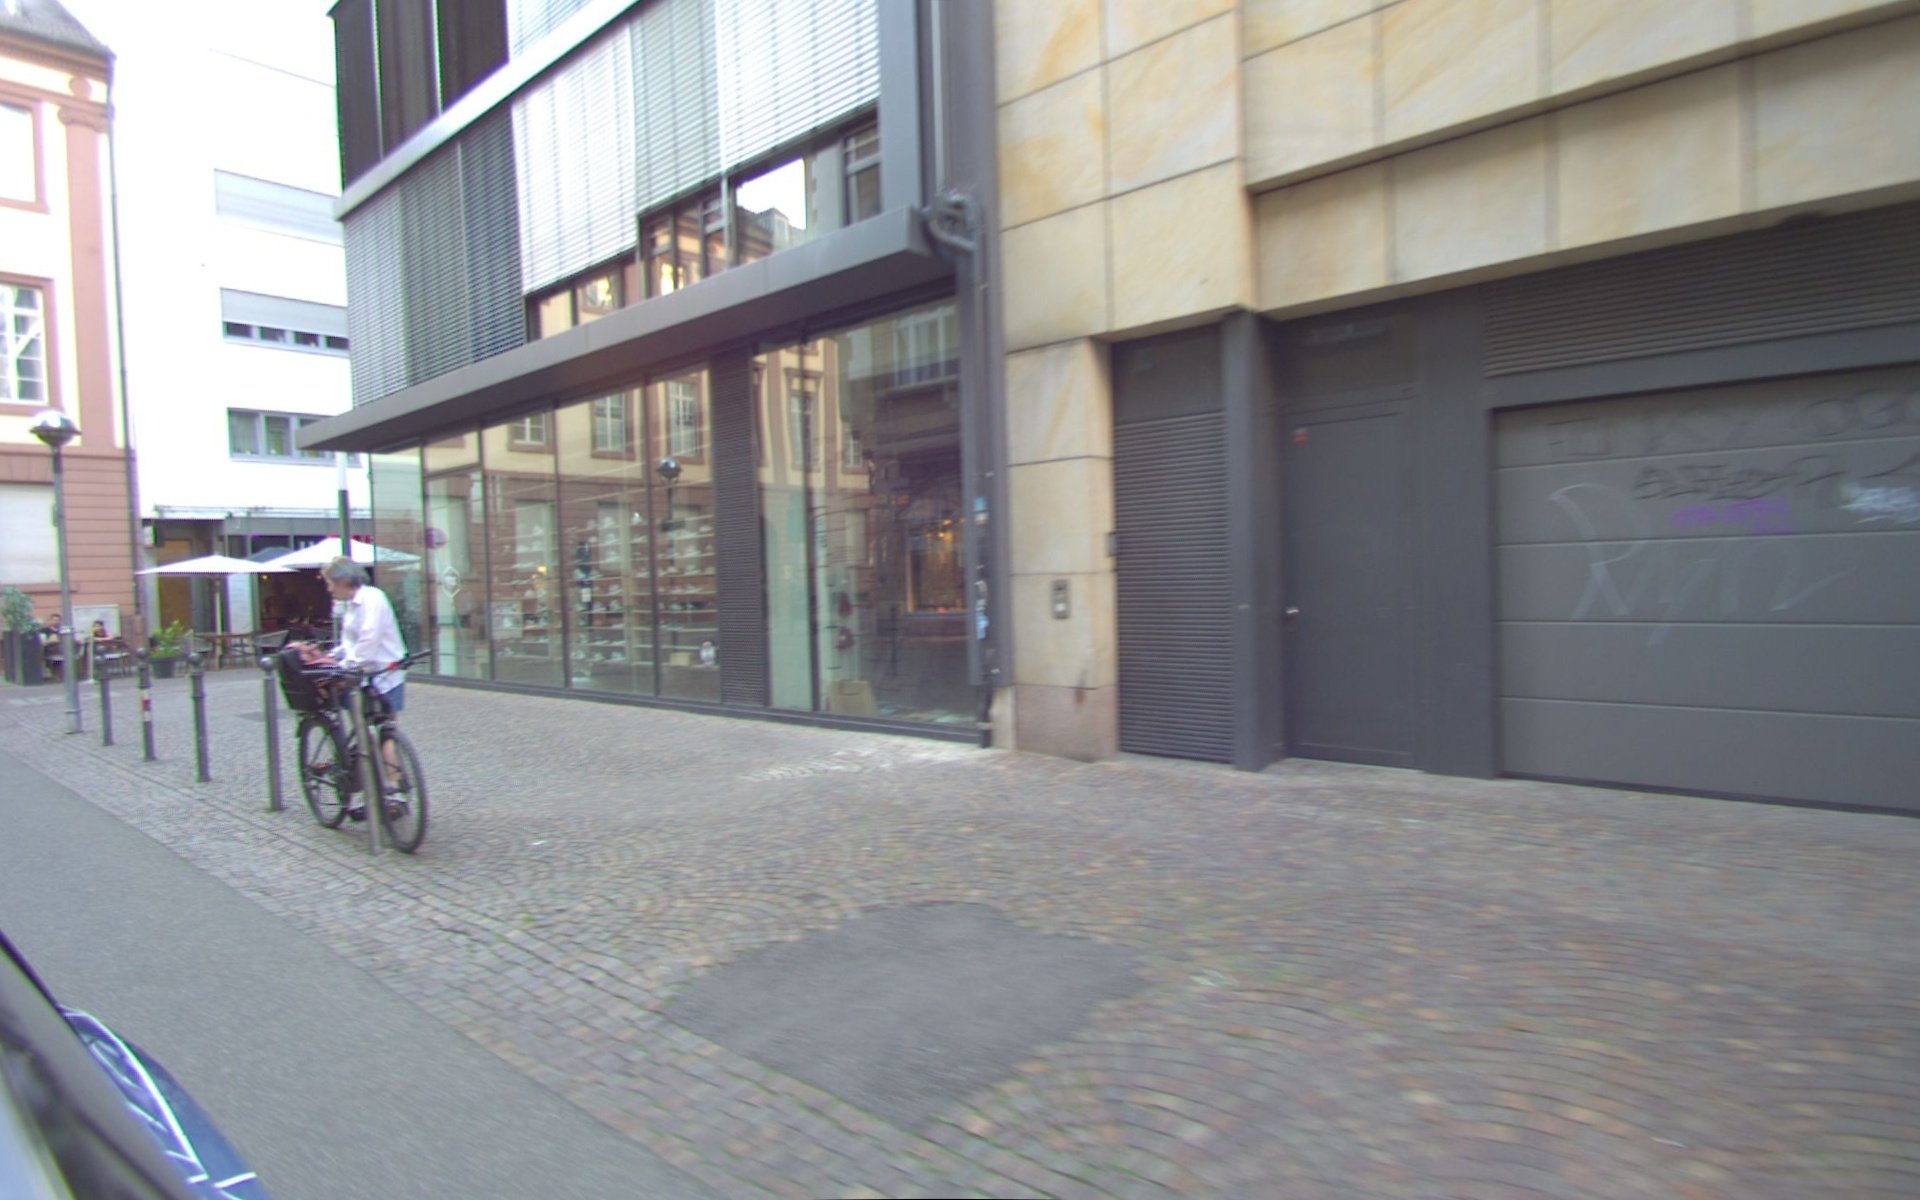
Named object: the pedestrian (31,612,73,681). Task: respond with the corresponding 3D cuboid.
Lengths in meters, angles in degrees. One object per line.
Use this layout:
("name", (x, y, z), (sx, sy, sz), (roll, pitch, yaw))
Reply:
("pedestrian", (-18.562, 0.937, 20.692), (0.489, 1.359, 0.541), (-1, 1, 42))

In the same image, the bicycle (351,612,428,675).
("bicycle", (-11.025, 0.844, 19.535), (1.672, 1.121, 0.700), (-3, 0, 40))

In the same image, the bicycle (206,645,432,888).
("bicycle", (-3.813, 0.879, 5.947), (1.913, 1.162, 0.527), (-1, 3, 41))

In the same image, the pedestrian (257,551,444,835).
("pedestrian", (-3.929, 0.564, 6.580), (0.585, 1.731, 0.768), (-3, 2, 9))

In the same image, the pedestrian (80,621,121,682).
("pedestrian", (-17.903, 1.064, 21.075), (0.524, 1.220, 0.541), (-1, 1, 42))

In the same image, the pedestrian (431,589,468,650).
("pedestrian", (-14.546, 0.545, 28.837), (0.618, 1.678, 0.668), (-2, 0, 13))

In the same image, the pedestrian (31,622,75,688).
("pedestrian", (-17.561, 1.051, 19.599), (0.461, 1.220, 0.554), (-1, 1, 42))
